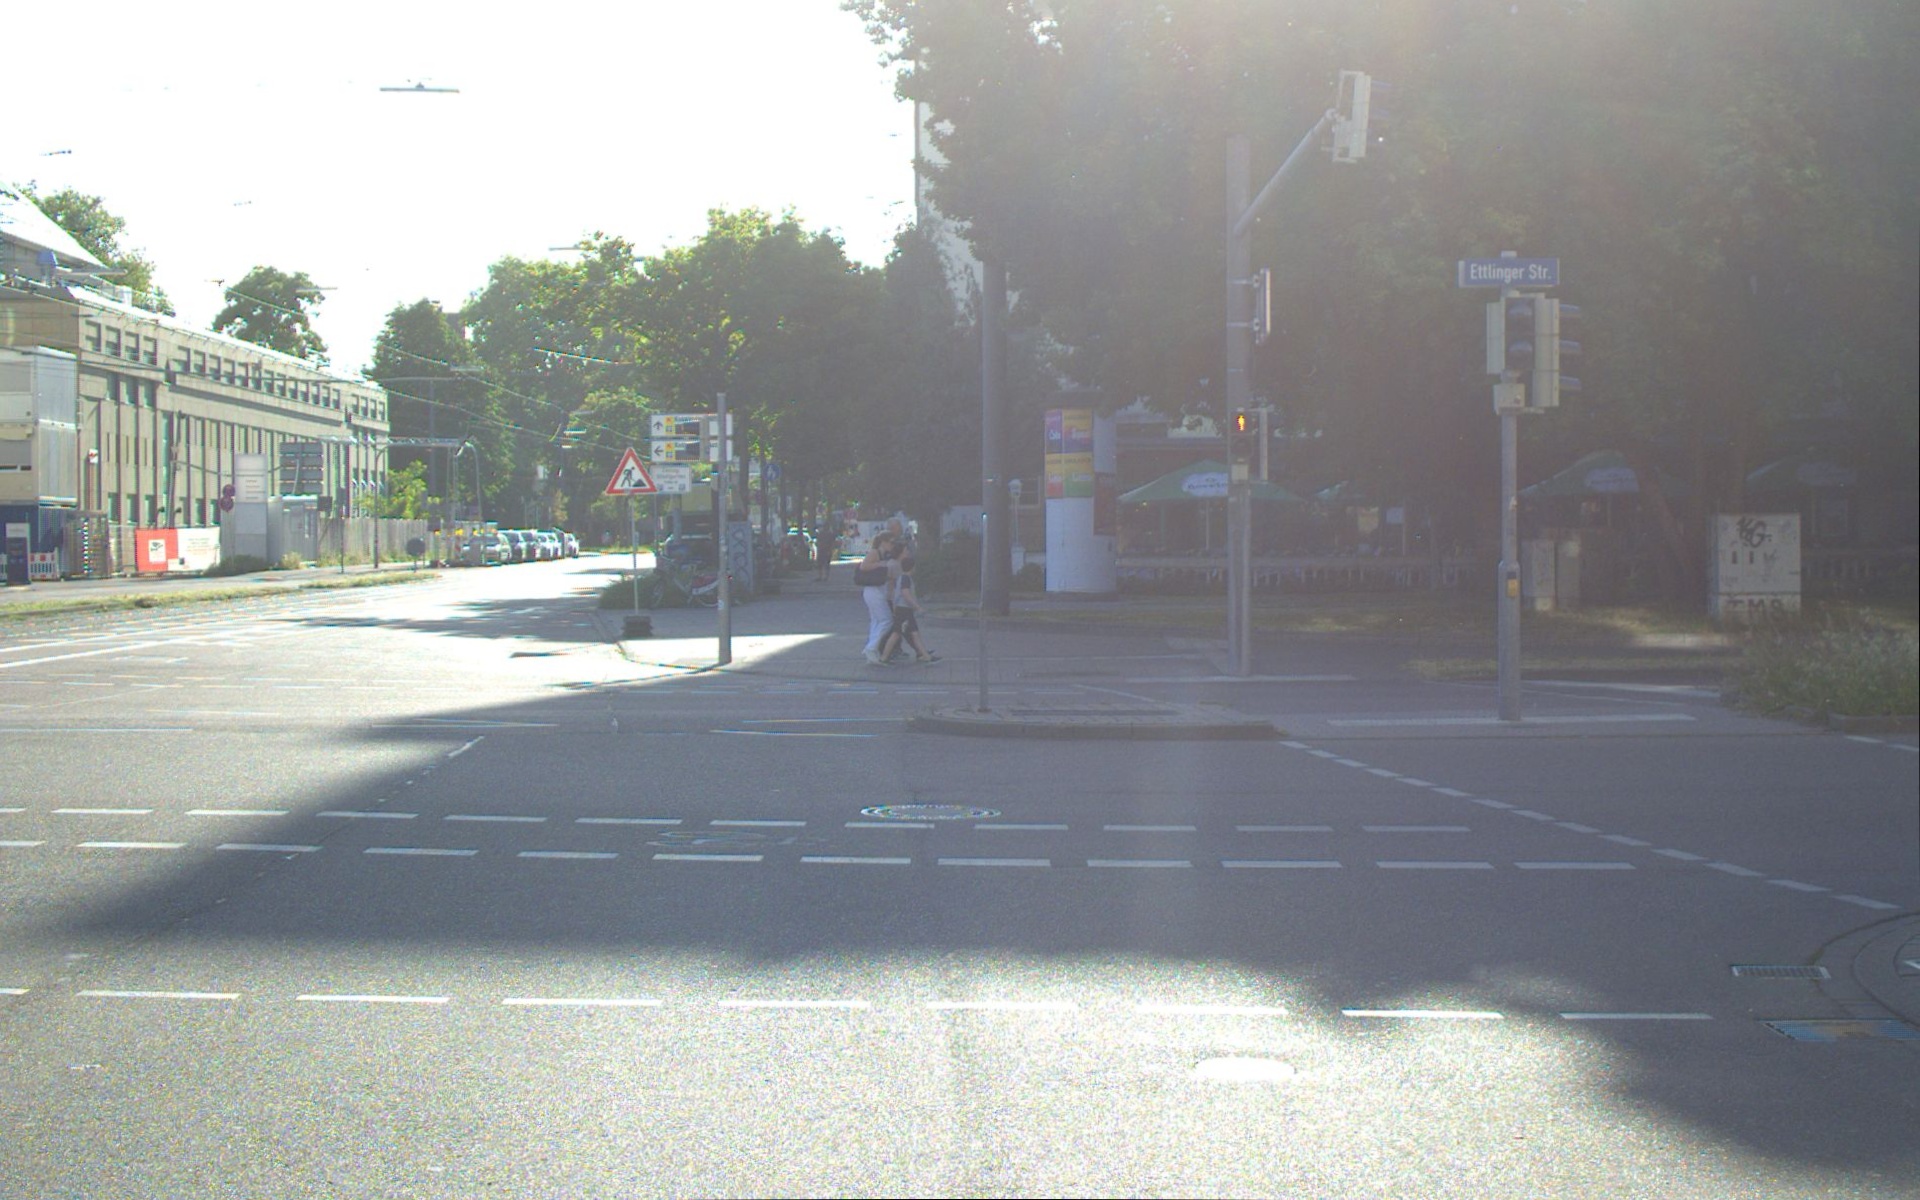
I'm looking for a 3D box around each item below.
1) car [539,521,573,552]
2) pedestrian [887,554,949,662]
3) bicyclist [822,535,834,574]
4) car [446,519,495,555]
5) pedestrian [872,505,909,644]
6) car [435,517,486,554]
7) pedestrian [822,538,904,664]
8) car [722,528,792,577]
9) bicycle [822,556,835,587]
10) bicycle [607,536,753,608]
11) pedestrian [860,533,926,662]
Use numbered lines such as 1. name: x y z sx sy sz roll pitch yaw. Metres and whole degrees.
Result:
1. car: -22.829 -3.579 194.353 1.483 1.744 4.000 -1 1 -1
2. pedestrian: -0.521 0.092 43.015 0.752 1.328 0.742 0 1 1
3. bicyclist: -3.774 -1.310 98.324 0.318 1.123 0.291 -1 1 -1
4. car: -22.778 -2.923 160.130 1.731 1.647 4.000 0 1 -1
5. pedestrian: -0.906 -0.330 44.726 0.361 1.798 0.506 0 1 11
6. car: -22.653 -2.905 156.030 1.731 1.647 4.000 0 1 -1
7. pedestrian: -1.222 0.009 43.512 0.984 1.582 0.660 0 0 1
8. car: -5.439 -1.296 92.590 1.819 1.274 4.001 0 1 -3
9. bicycle: -3.764 -0.827 98.403 0.324 0.865 1.483 -1 1 -1
10. bicycle: -5.465 -0.551 67.141 2.748 1.363 0.630 1 0 11
11. pedestrian: -0.848 -0.036 43.875 0.795 1.634 0.533 0 1 2
